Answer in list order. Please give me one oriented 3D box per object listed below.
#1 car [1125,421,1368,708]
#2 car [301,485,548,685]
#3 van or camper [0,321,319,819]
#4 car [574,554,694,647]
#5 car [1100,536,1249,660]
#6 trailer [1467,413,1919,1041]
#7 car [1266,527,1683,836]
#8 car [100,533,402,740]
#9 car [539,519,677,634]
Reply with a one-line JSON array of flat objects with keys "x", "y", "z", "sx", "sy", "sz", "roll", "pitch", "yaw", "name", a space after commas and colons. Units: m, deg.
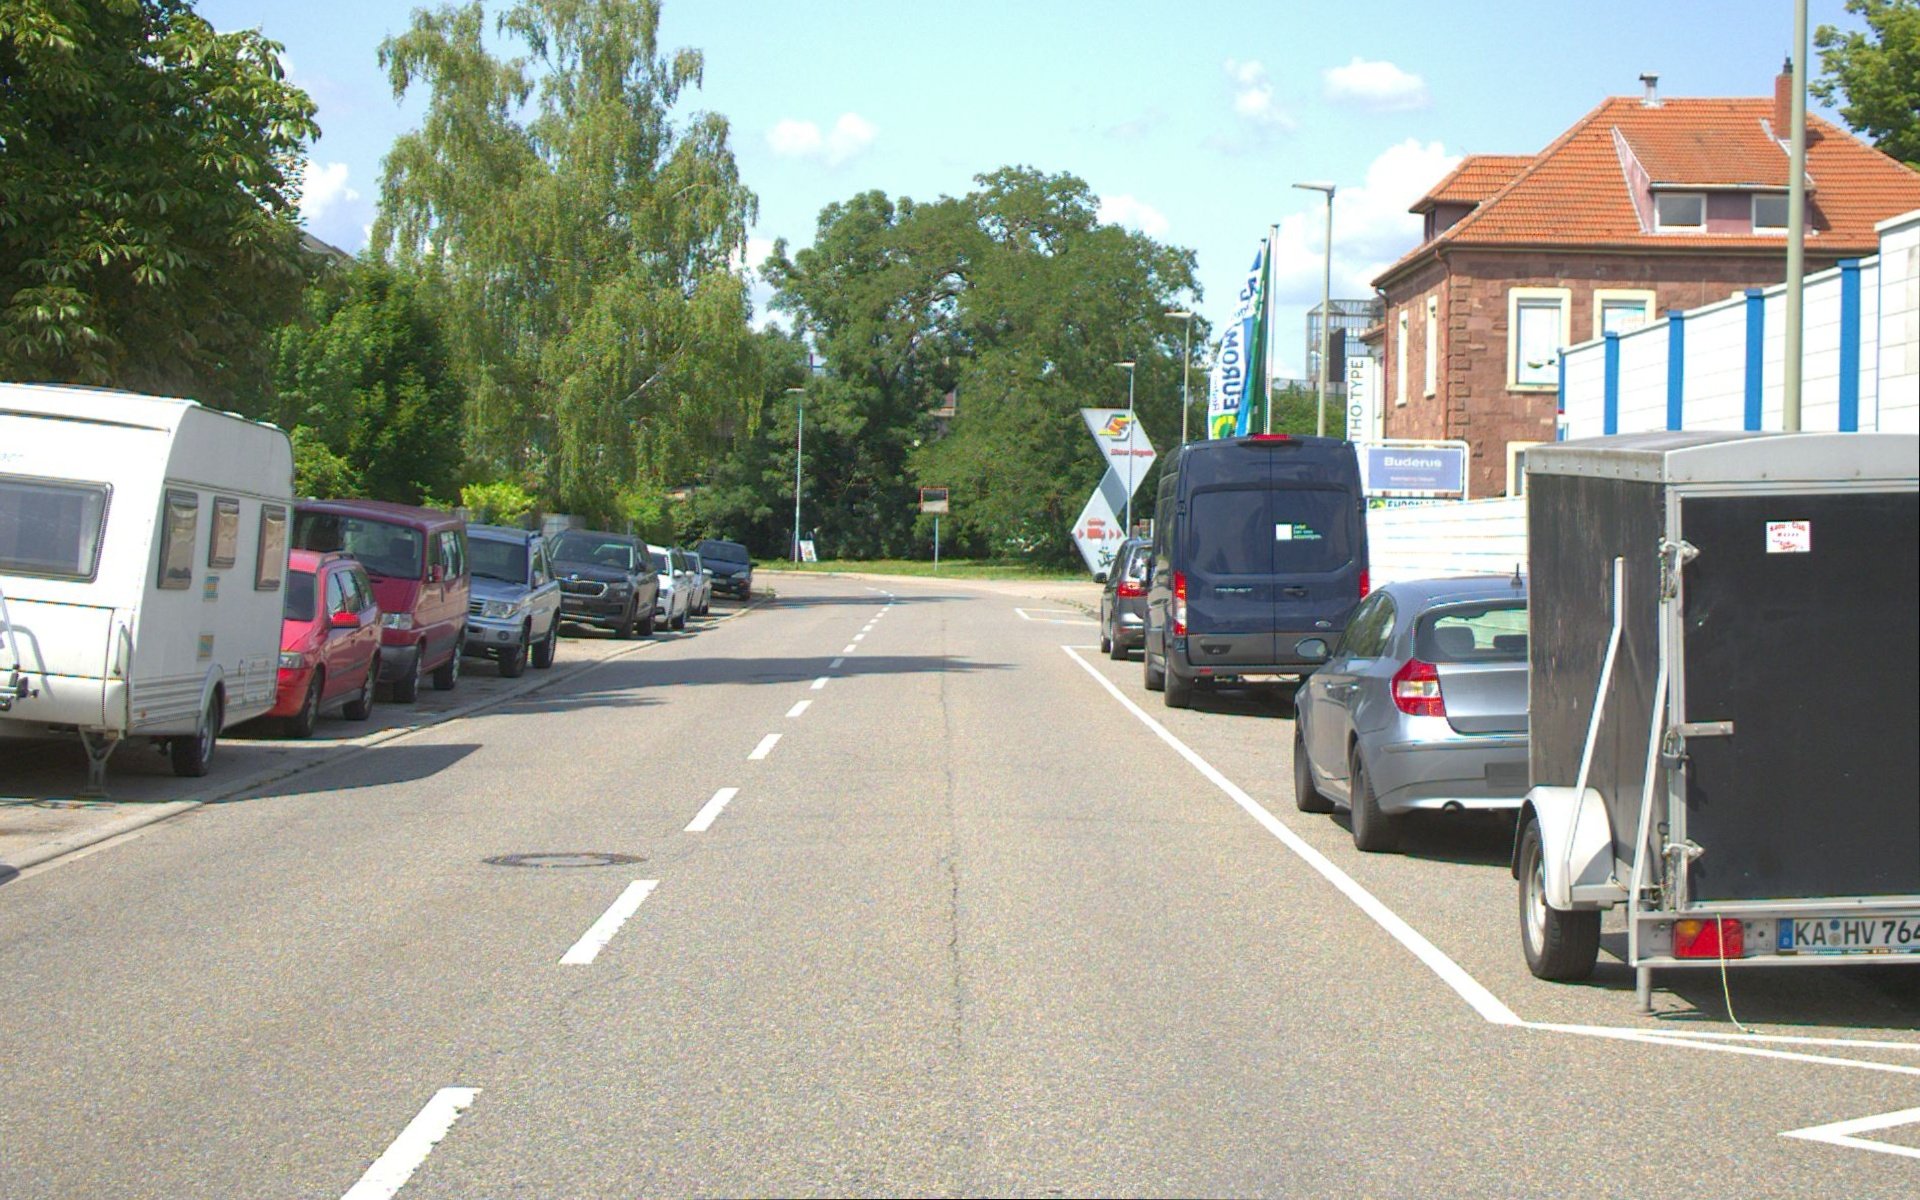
[{"x": 2.923, "y": -0.396, "z": 36.418, "sx": 1.937, "sy": 2.739, "sz": 6.155, "roll": 1, "pitch": 1, "yaw": 0, "name": "car"}, {"x": -6.073, "y": -0.193, "z": 39.526, "sx": 1.898, "sy": 1.948, "sz": 4.958, "roll": 6, "pitch": 1, "yaw": 0, "name": "car"}, {"x": -6.073, "y": -0.291, "z": 23.058, "sx": 2.262, "sy": 2.794, "sz": 6.834, "roll": 5, "pitch": 1, "yaw": -2, "name": "van or camper"}, {"x": -5.958, "y": -0.025, "z": 63.323, "sx": 1.700, "sy": 1.589, "sz": 4.787, "roll": 1, "pitch": 1, "yaw": 0, "name": "car"}, {"x": 2.983, "y": -0.070, "z": 48.621, "sx": 1.825, "sy": 1.659, "sz": 4.556, "roll": 0, "pitch": 1, "yaw": 0, "name": "car"}, {"x": 2.918, "y": 0.405, "z": 12.669, "sx": 1.601, "sy": 2.030, "sz": 2.741, "roll": 2, "pitch": 1, "yaw": -1, "name": "trailer"}, {"x": 2.726, "y": 0.370, "z": 19.054, "sx": 1.572, "sy": 1.502, "sz": 4.133, "roll": 1, "pitch": 1, "yaw": -1, "name": "car"}, {"x": -6.059, "y": 0.261, "z": 29.828, "sx": 1.625, "sy": 1.527, "sz": 4.269, "roll": 5, "pitch": 1, "yaw": 0, "name": "car"}, {"x": -5.744, "y": -0.415, "z": 56.559, "sx": 1.610, "sy": 1.739, "sz": 4.636, "roll": 3, "pitch": 1, "yaw": 1, "name": "car"}]
